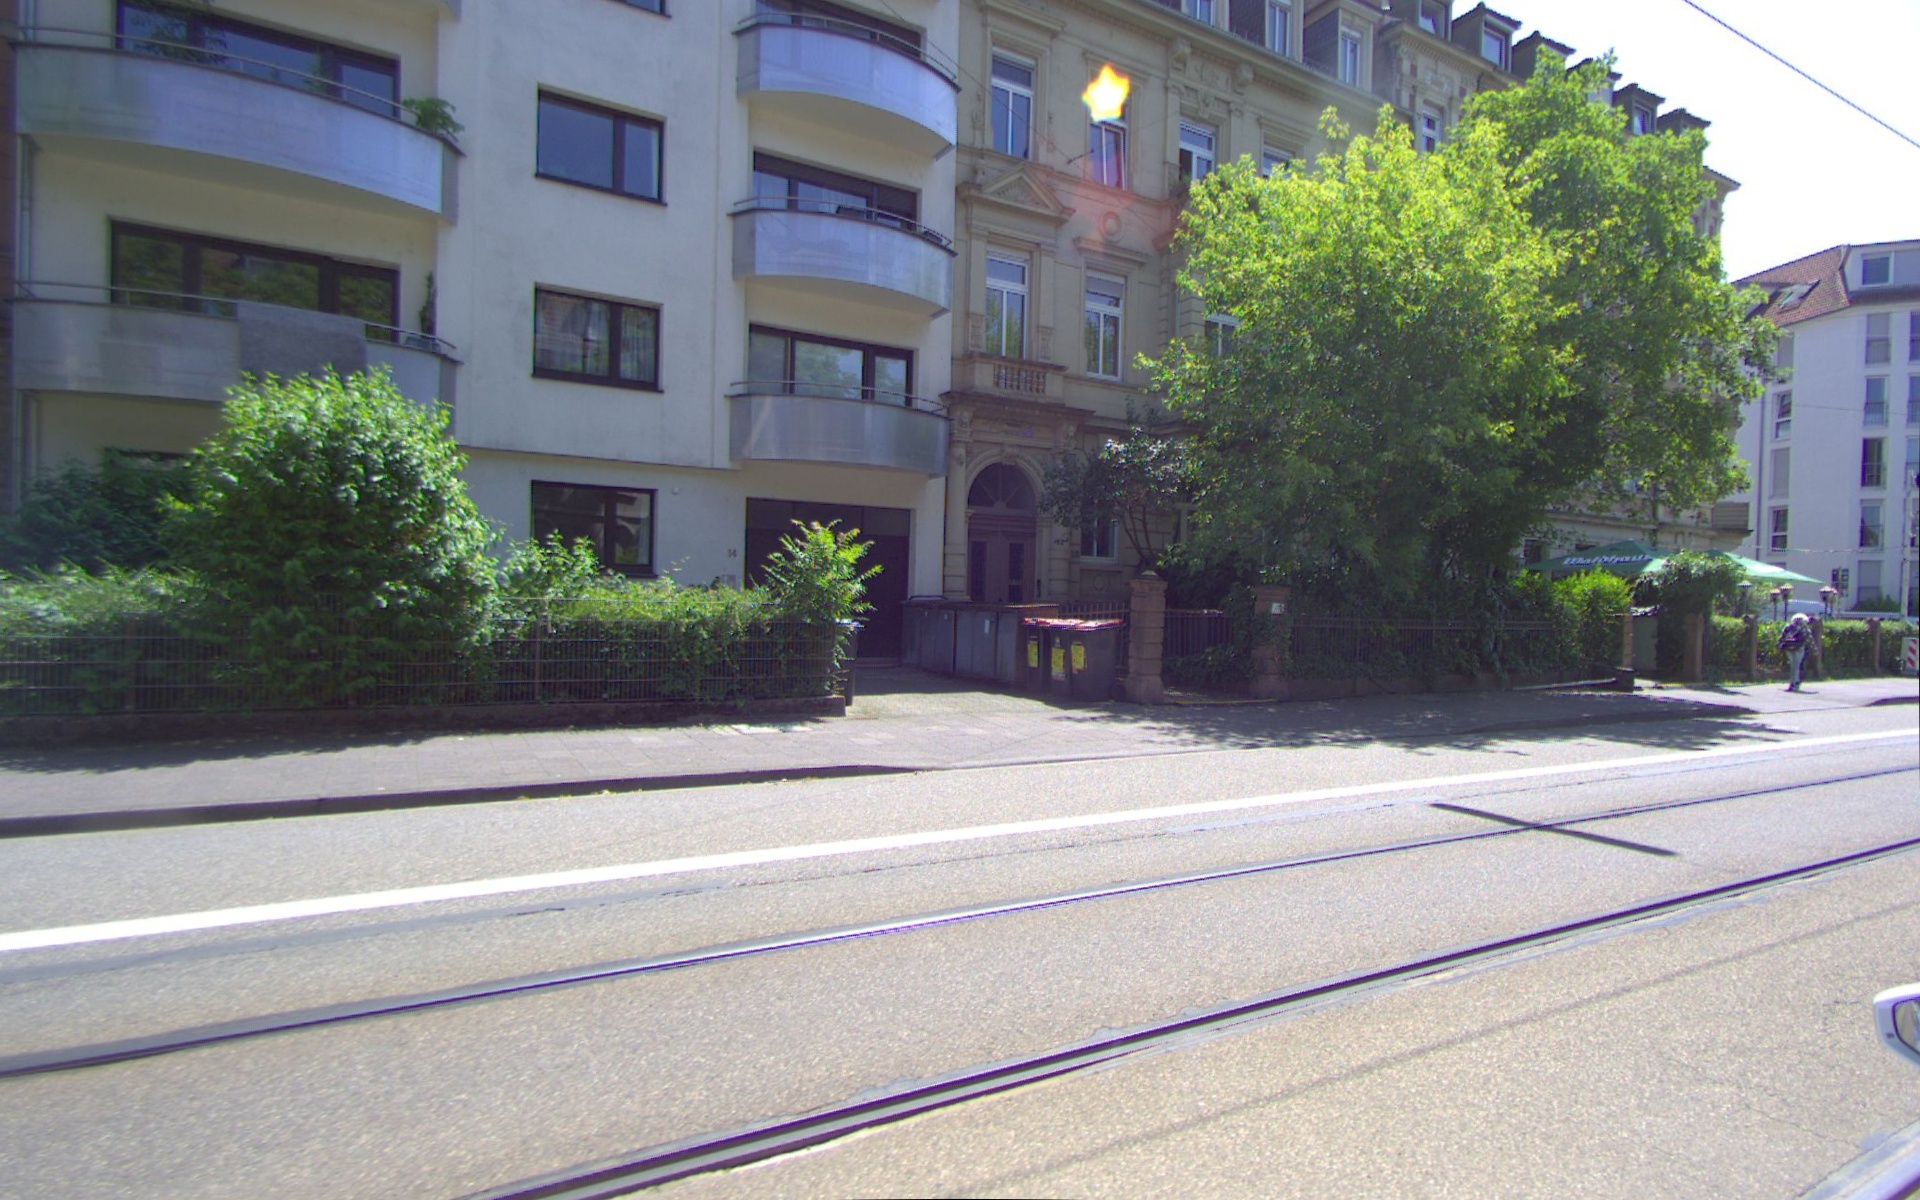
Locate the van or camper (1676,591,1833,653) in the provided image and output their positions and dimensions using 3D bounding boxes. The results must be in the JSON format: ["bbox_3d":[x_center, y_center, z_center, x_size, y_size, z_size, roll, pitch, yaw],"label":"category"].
[{"bbox_3d":[29.842,0.817,37.775,4.714,2.148,1.996,2,1,-11],"label":"van or camper"}]

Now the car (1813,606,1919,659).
[{"bbox_3d":[37.279,1.301,40.191,1.965,1.929,4.484,2,1,-13],"label":"car"}]

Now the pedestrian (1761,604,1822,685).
[{"bbox_3d":[17.742,0.937,21.439,0.824,1.651,0.746,1,1,-33],"label":"pedestrian"}]
